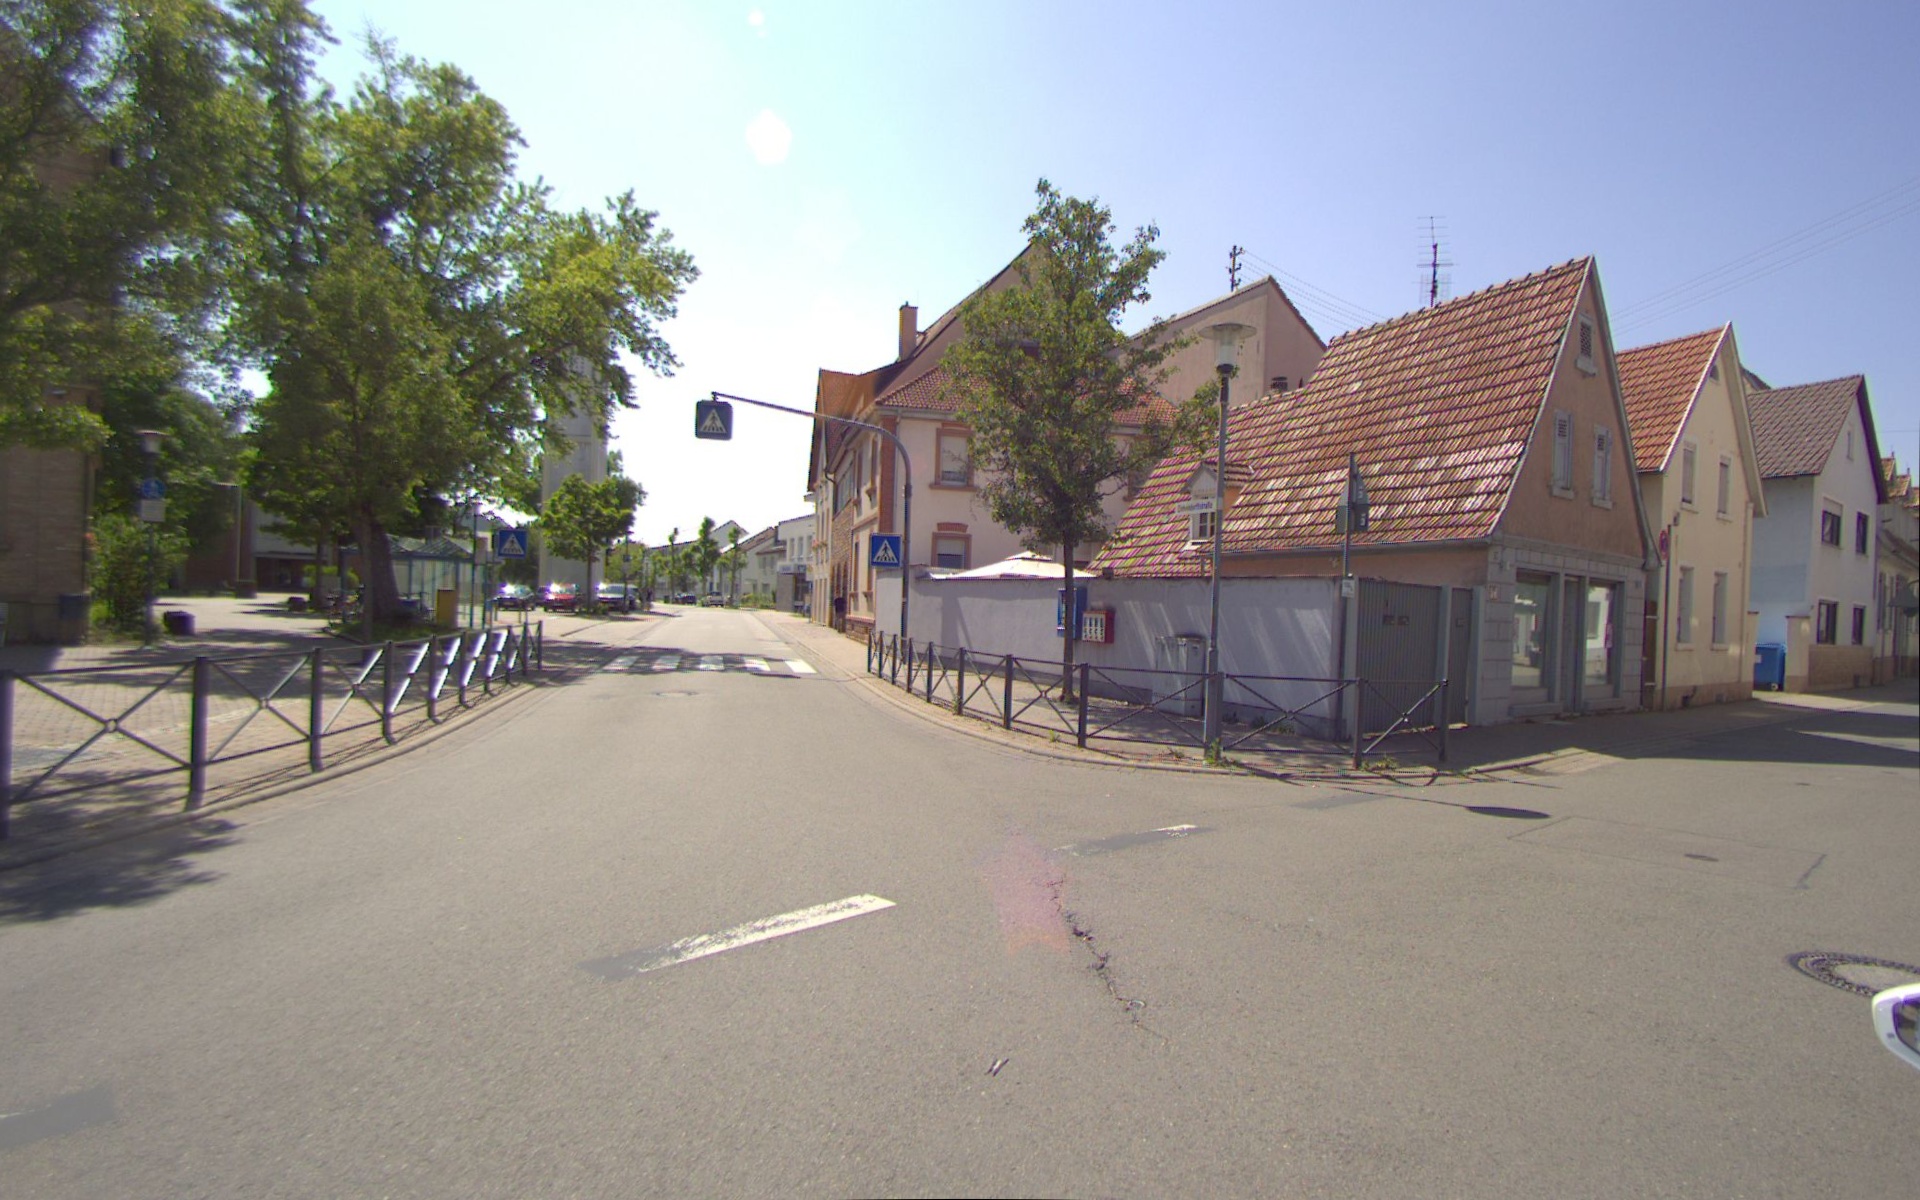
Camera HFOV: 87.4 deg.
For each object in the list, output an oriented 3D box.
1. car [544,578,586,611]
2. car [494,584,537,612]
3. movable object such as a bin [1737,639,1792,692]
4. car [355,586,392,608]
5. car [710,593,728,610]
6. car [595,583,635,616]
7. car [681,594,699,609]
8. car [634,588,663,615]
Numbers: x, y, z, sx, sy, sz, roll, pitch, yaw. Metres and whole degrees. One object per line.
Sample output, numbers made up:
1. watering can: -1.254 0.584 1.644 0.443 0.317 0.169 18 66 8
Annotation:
1. car: -23.464 -0.305 59.781 1.752 1.817 3.988 2 -1 -14
2. car: -25.869 -0.098 58.534 1.623 1.487 3.768 2 -1 -14
3. movable object such as a bin: 22.085 1.784 27.578 0.386 1.384 1.094 2 -1 -35
4. car: -32.900 -0.178 56.396 1.566 1.164 3.057 2 -1 -27
5. car: -26.028 0.159 108.506 1.752 1.804 3.988 2 -1 -14
6. car: -20.688 -0.027 60.327 1.751 1.817 3.990 3 -1 -13
7. car: -32.443 0.224 120.764 1.754 1.714 3.983 2 -1 -19
8. car: -21.018 0.108 67.689 1.754 1.667 3.984 2 -1 -18
